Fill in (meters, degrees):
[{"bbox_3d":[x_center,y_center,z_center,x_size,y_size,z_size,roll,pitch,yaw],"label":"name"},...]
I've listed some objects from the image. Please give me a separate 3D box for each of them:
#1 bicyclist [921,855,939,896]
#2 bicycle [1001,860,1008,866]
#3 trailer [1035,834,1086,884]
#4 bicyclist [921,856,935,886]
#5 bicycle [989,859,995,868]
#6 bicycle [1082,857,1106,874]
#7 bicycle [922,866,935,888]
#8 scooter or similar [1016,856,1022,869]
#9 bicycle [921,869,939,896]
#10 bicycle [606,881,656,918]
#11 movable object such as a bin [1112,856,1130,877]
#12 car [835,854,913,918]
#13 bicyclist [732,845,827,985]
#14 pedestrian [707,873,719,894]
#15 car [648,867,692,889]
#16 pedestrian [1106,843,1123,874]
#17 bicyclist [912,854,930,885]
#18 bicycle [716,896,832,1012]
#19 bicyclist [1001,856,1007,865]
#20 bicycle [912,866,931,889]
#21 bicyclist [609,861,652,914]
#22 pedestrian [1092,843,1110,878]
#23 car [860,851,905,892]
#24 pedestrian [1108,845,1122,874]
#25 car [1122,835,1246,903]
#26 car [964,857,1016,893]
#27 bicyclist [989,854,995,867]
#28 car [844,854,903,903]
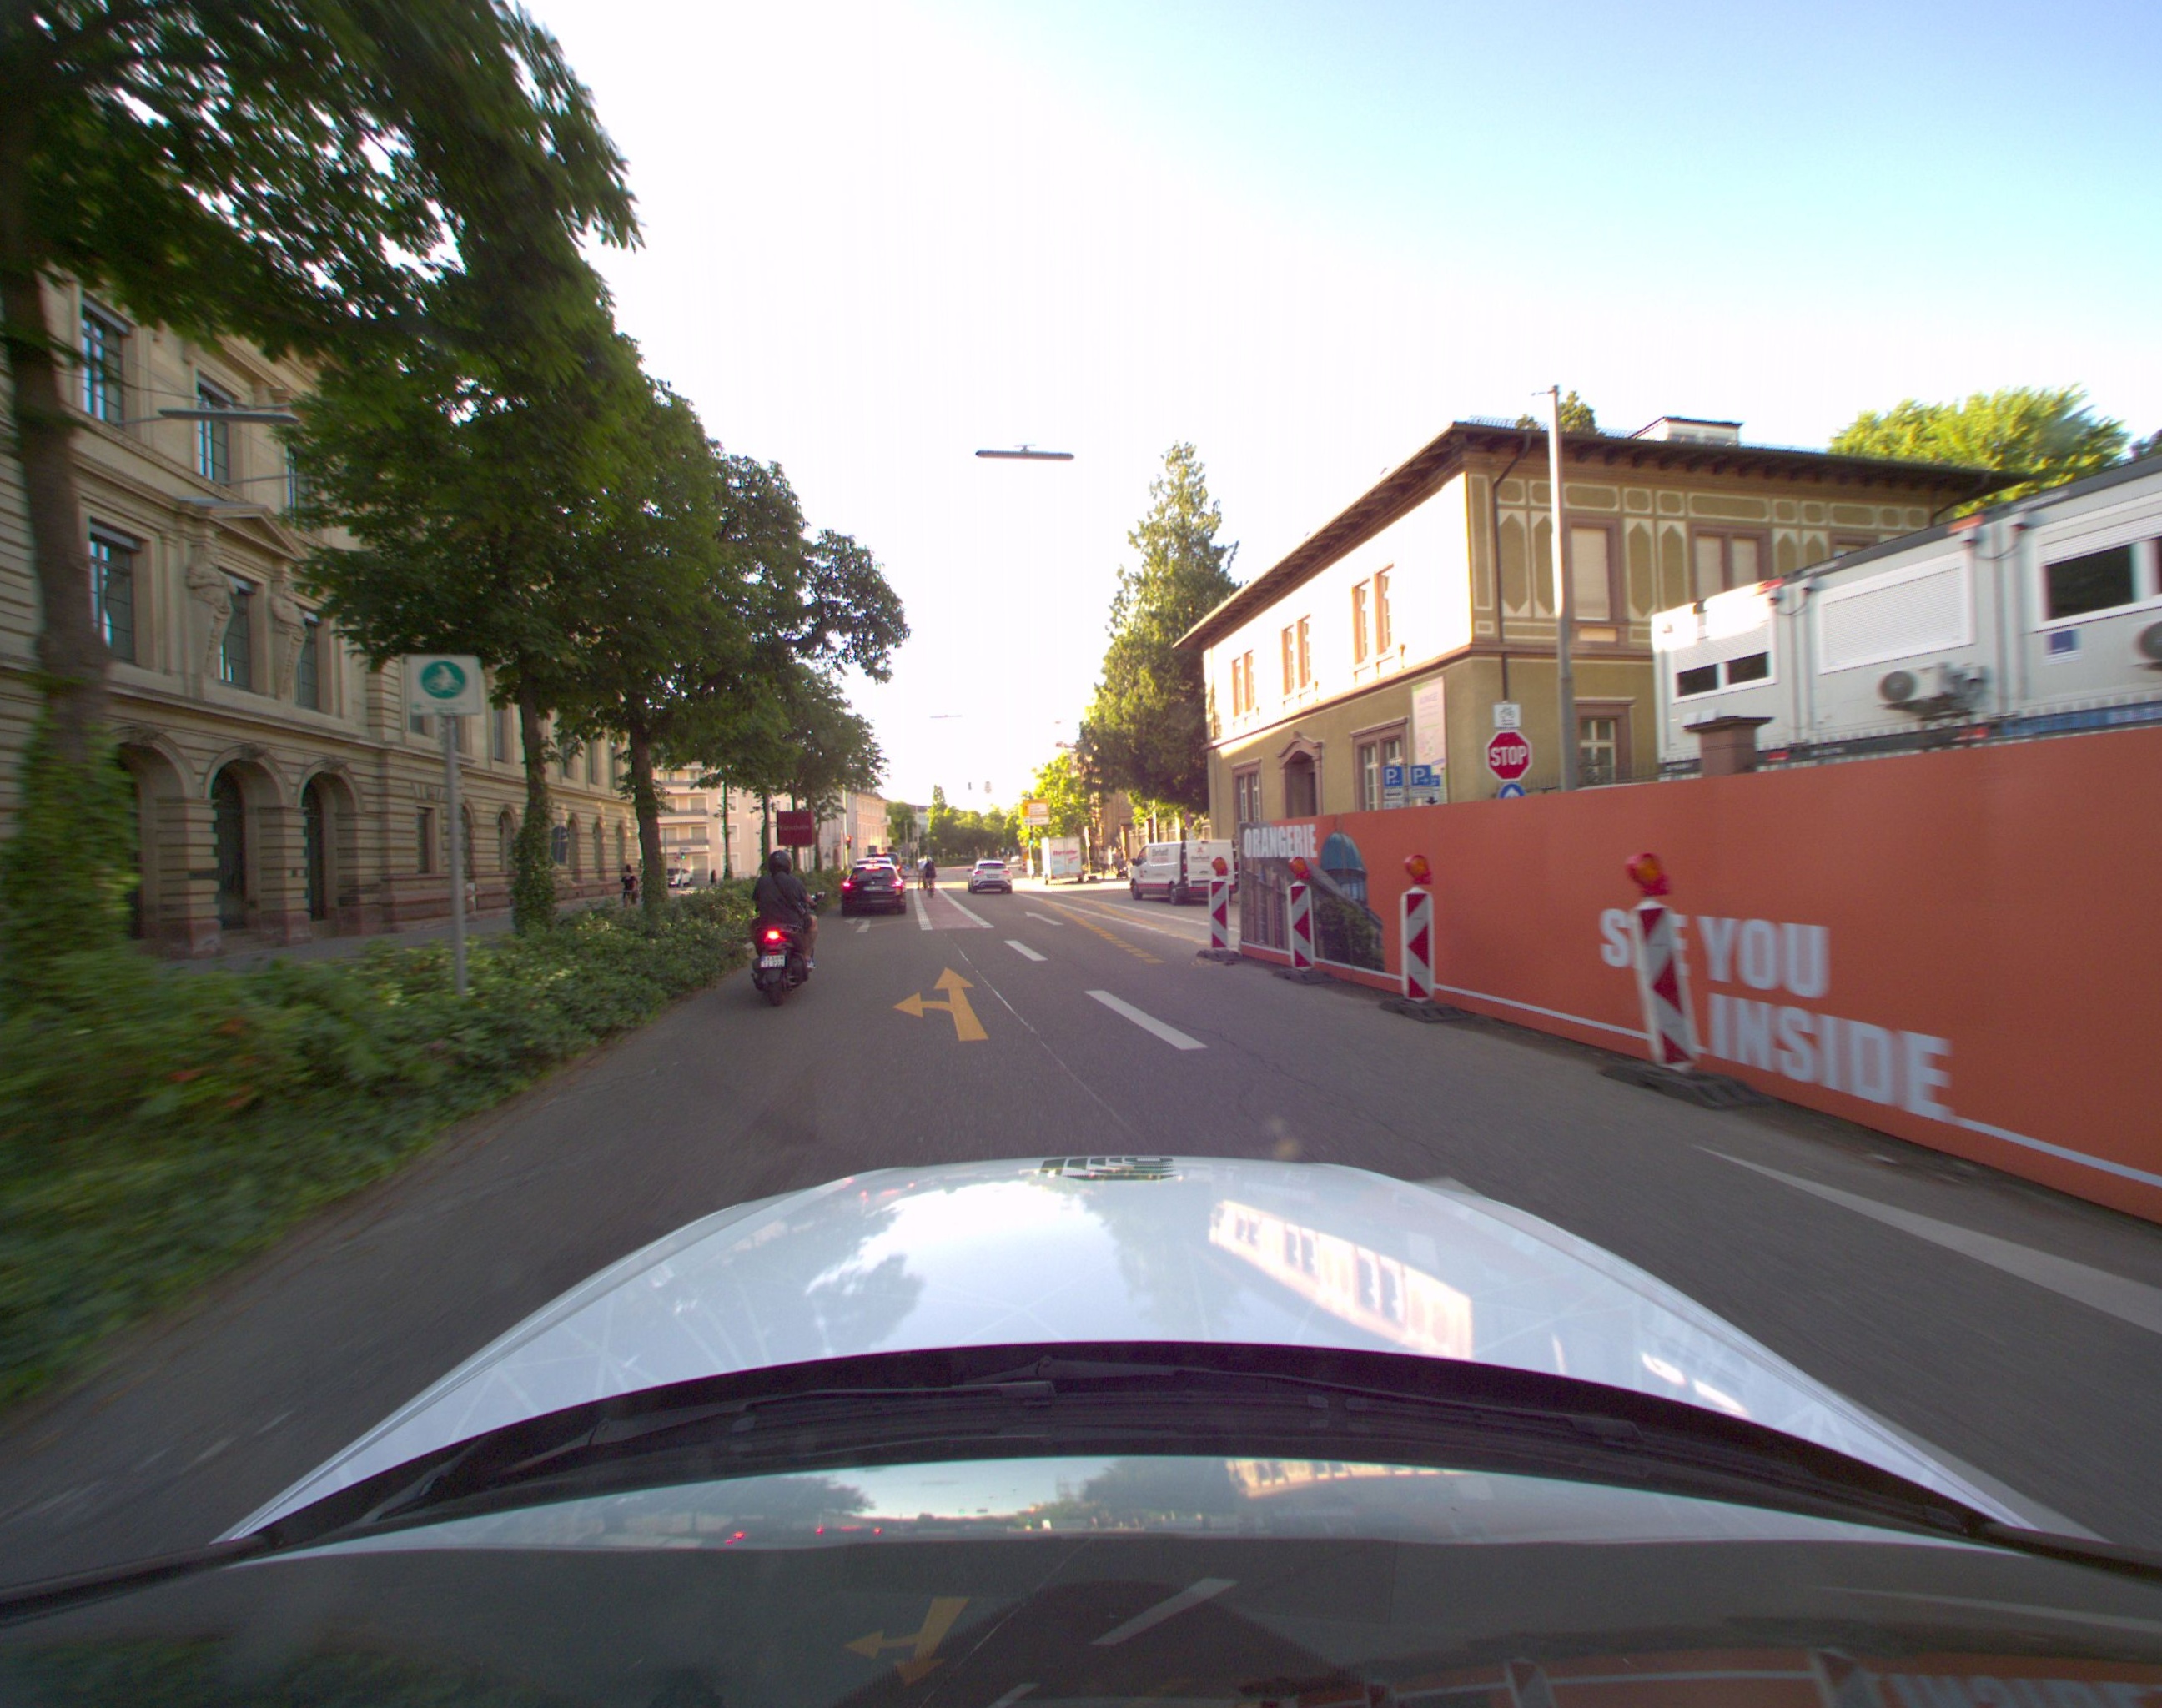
[{"bbox_3d":[-6.262,0.869,33.677,0.673,1.652,0.884,-2,0,-11],"label":"bicyclist"},{"bbox_3d":[-12.372,1.418,131.607,0.749,1.026,1.872,-1,-1,5],"label":"bicycle"},{"bbox_3d":[-1.237,0.261,45.798,2.080,2.528,4.477,-4,1,-10],"label":"trailer"},{"bbox_3d":[-8.518,0.943,45.463,0.670,1.608,0.822,-3,0,-9],"label":"bicyclist"},{"bbox_3d":[-11.224,1.214,102.633,0.642,1.024,2.209,-1,0,-4],"label":"bicycle"},{"bbox_3d":[0.871,0.796,54.605,1.467,1.039,0.477,-3,0,-11],"label":"bicycle"},{"bbox_3d":[-8.515,1.296,45.578,0.642,1.155,2.071,-2,0,-9],"label":"bicycle"},{"bbox_3d":[-6.468,0.887,84.800,0.554,1.308,1.830,-3,0,-3],"label":"scooter or similar"},{"bbox_3d":[-6.251,1.175,33.805,0.669,1.072,1.747,-2,0,-10],"label":"bicycle"},{"bbox_3d":[-16.547,1.652,30.026,0.881,1.194,2.167,-6,0,-11],"label":"bicycle"},{"bbox_3d":[2.210,0.689,45.141,0.712,1.117,1.046,-5,1,-13],"label":"movable object such as a bin"},{"bbox_3d":[-6.213,0.893,24.582,1.996,1.657,4.714,-3,0,-14],"label":"car"},{"bbox_3d":[-3.532,0.674,9.647,0.868,1.523,1.226,-1,0,-12],"label":"bicyclist"},{"bbox_3d":[-28.348,2.284,62.676,0.631,1.583,0.816,0,0,-9],"label":"pedestrian"},{"bbox_3d":[-35.809,2.096,71.048,1.993,1.686,4.601,-3,0,-8],"label":"car"},{"bbox_3d":[1.887,0.269,45.966,0.683,1.701,0.691,-4,1,-12],"label":"pedestrian"},{"bbox_3d":[-8.398,0.803,42.754,0.802,1.608,0.822,-3,0,-9],"label":"bicyclist"},{"bbox_3d":[-3.518,1.083,9.588,0.871,1.042,2.444,-1,0,-11],"label":"bicycle"},{"bbox_3d":[-12.387,1.067,131.658,0.744,1.537,0.971,-2,0,5],"label":"bicyclist"},{"bbox_3d":[-8.369,1.240,42.774,0.828,1.143,1.964,-2,0,-9],"label":"bicycle"},{"bbox_3d":[-16.561,1.217,29.955,0.881,1.834,1.281,-6,0,-11],"label":"bicyclist"},{"bbox_3d":[1.111,0.359,45.473,0.716,1.894,0.885,-4,1,-14],"label":"pedestrian"},{"bbox_3d":[-10.539,0.914,43.462,2.070,1.915,5.012,-3,0,-12],"label":"car"},{"bbox_3d":[2.102,0.353,50.713,0.639,1.768,0.735,-3,0,-8],"label":"pedestrian"},{"bbox_3d":[3.186,0.482,26.610,2.019,1.945,5.451,-1,-1,-16],"label":"car"},{"bbox_3d":[-4.253,0.936,37.571,1.995,1.453,3.984,-3,0,-11],"label":"car"},{"bbox_3d":[-11.262,0.754,102.864,0.635,1.614,1.282,-2,0,-4],"label":"bicyclist"},{"bbox_3d":[-8.471,0.949,33.636,1.992,1.749,4.729,-3,0,-11],"label":"car"}]
